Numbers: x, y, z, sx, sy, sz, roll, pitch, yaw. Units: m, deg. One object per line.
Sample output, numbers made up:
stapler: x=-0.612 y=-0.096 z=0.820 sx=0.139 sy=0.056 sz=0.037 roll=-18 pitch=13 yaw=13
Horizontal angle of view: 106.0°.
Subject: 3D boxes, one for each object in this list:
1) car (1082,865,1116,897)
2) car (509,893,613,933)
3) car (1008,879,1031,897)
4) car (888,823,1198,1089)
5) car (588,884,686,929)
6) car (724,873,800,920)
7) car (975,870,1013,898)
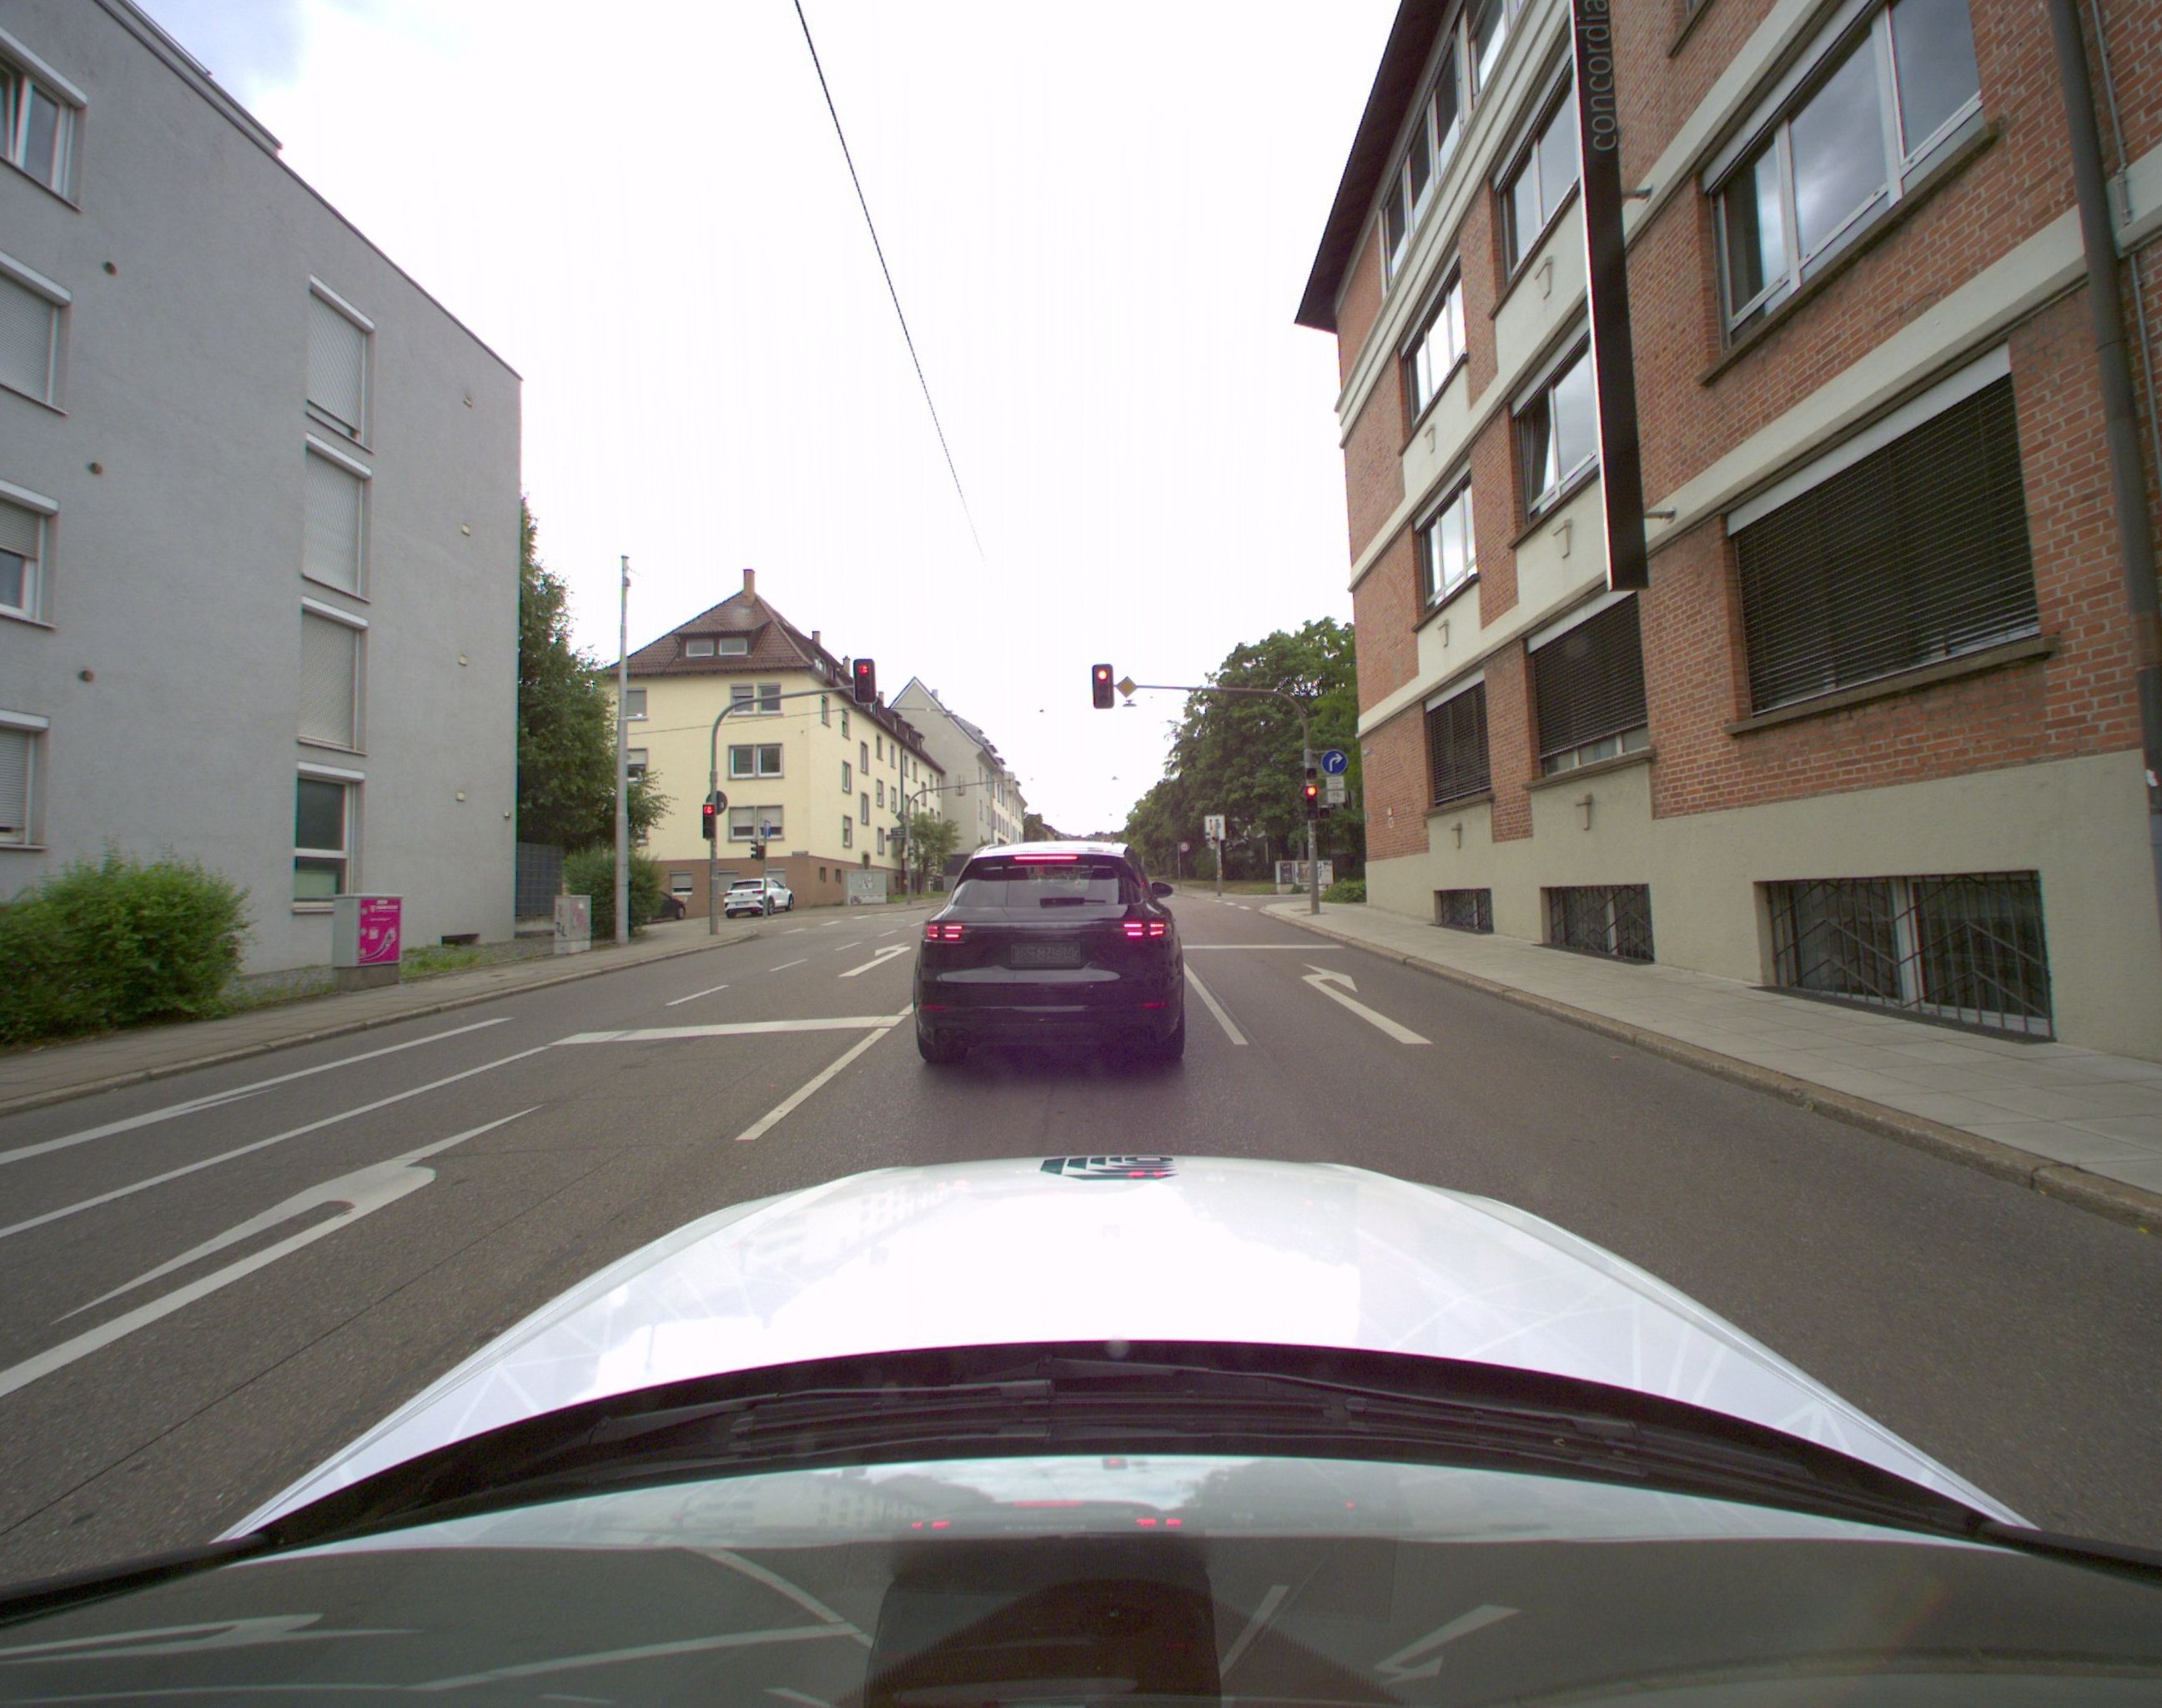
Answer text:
car: x=0.927 y=1.382 z=42.330 sx=1.682 sy=1.552 sz=3.889 roll=0 pitch=-1 yaw=1
car: x=-21.631 y=2.428 z=34.074 sx=1.663 sy=1.362 sz=4.001 roll=-1 pitch=-1 yaw=2
car: x=-5.244 y=2.898 z=69.804 sx=1.665 sy=1.362 sz=3.998 roll=-1 pitch=-1 yaw=-1
car: x=-0.186 y=0.674 z=7.240 sx=1.986 sy=1.697 sz=4.001 roll=0 pitch=-1 yaw=2
car: x=-18.621 y=2.157 z=34.394 sx=1.664 sy=1.546 sz=4.103 roll=-5 pitch=-1 yaw=2
car: x=-13.405 y=1.741 z=34.450 sx=1.666 sy=1.662 sz=3.996 roll=-4 pitch=0 yaw=-3
car: x=-5.286 y=1.811 z=50.028 sx=1.657 sy=1.519 sz=3.742 roll=-5 pitch=-1 yaw=2
